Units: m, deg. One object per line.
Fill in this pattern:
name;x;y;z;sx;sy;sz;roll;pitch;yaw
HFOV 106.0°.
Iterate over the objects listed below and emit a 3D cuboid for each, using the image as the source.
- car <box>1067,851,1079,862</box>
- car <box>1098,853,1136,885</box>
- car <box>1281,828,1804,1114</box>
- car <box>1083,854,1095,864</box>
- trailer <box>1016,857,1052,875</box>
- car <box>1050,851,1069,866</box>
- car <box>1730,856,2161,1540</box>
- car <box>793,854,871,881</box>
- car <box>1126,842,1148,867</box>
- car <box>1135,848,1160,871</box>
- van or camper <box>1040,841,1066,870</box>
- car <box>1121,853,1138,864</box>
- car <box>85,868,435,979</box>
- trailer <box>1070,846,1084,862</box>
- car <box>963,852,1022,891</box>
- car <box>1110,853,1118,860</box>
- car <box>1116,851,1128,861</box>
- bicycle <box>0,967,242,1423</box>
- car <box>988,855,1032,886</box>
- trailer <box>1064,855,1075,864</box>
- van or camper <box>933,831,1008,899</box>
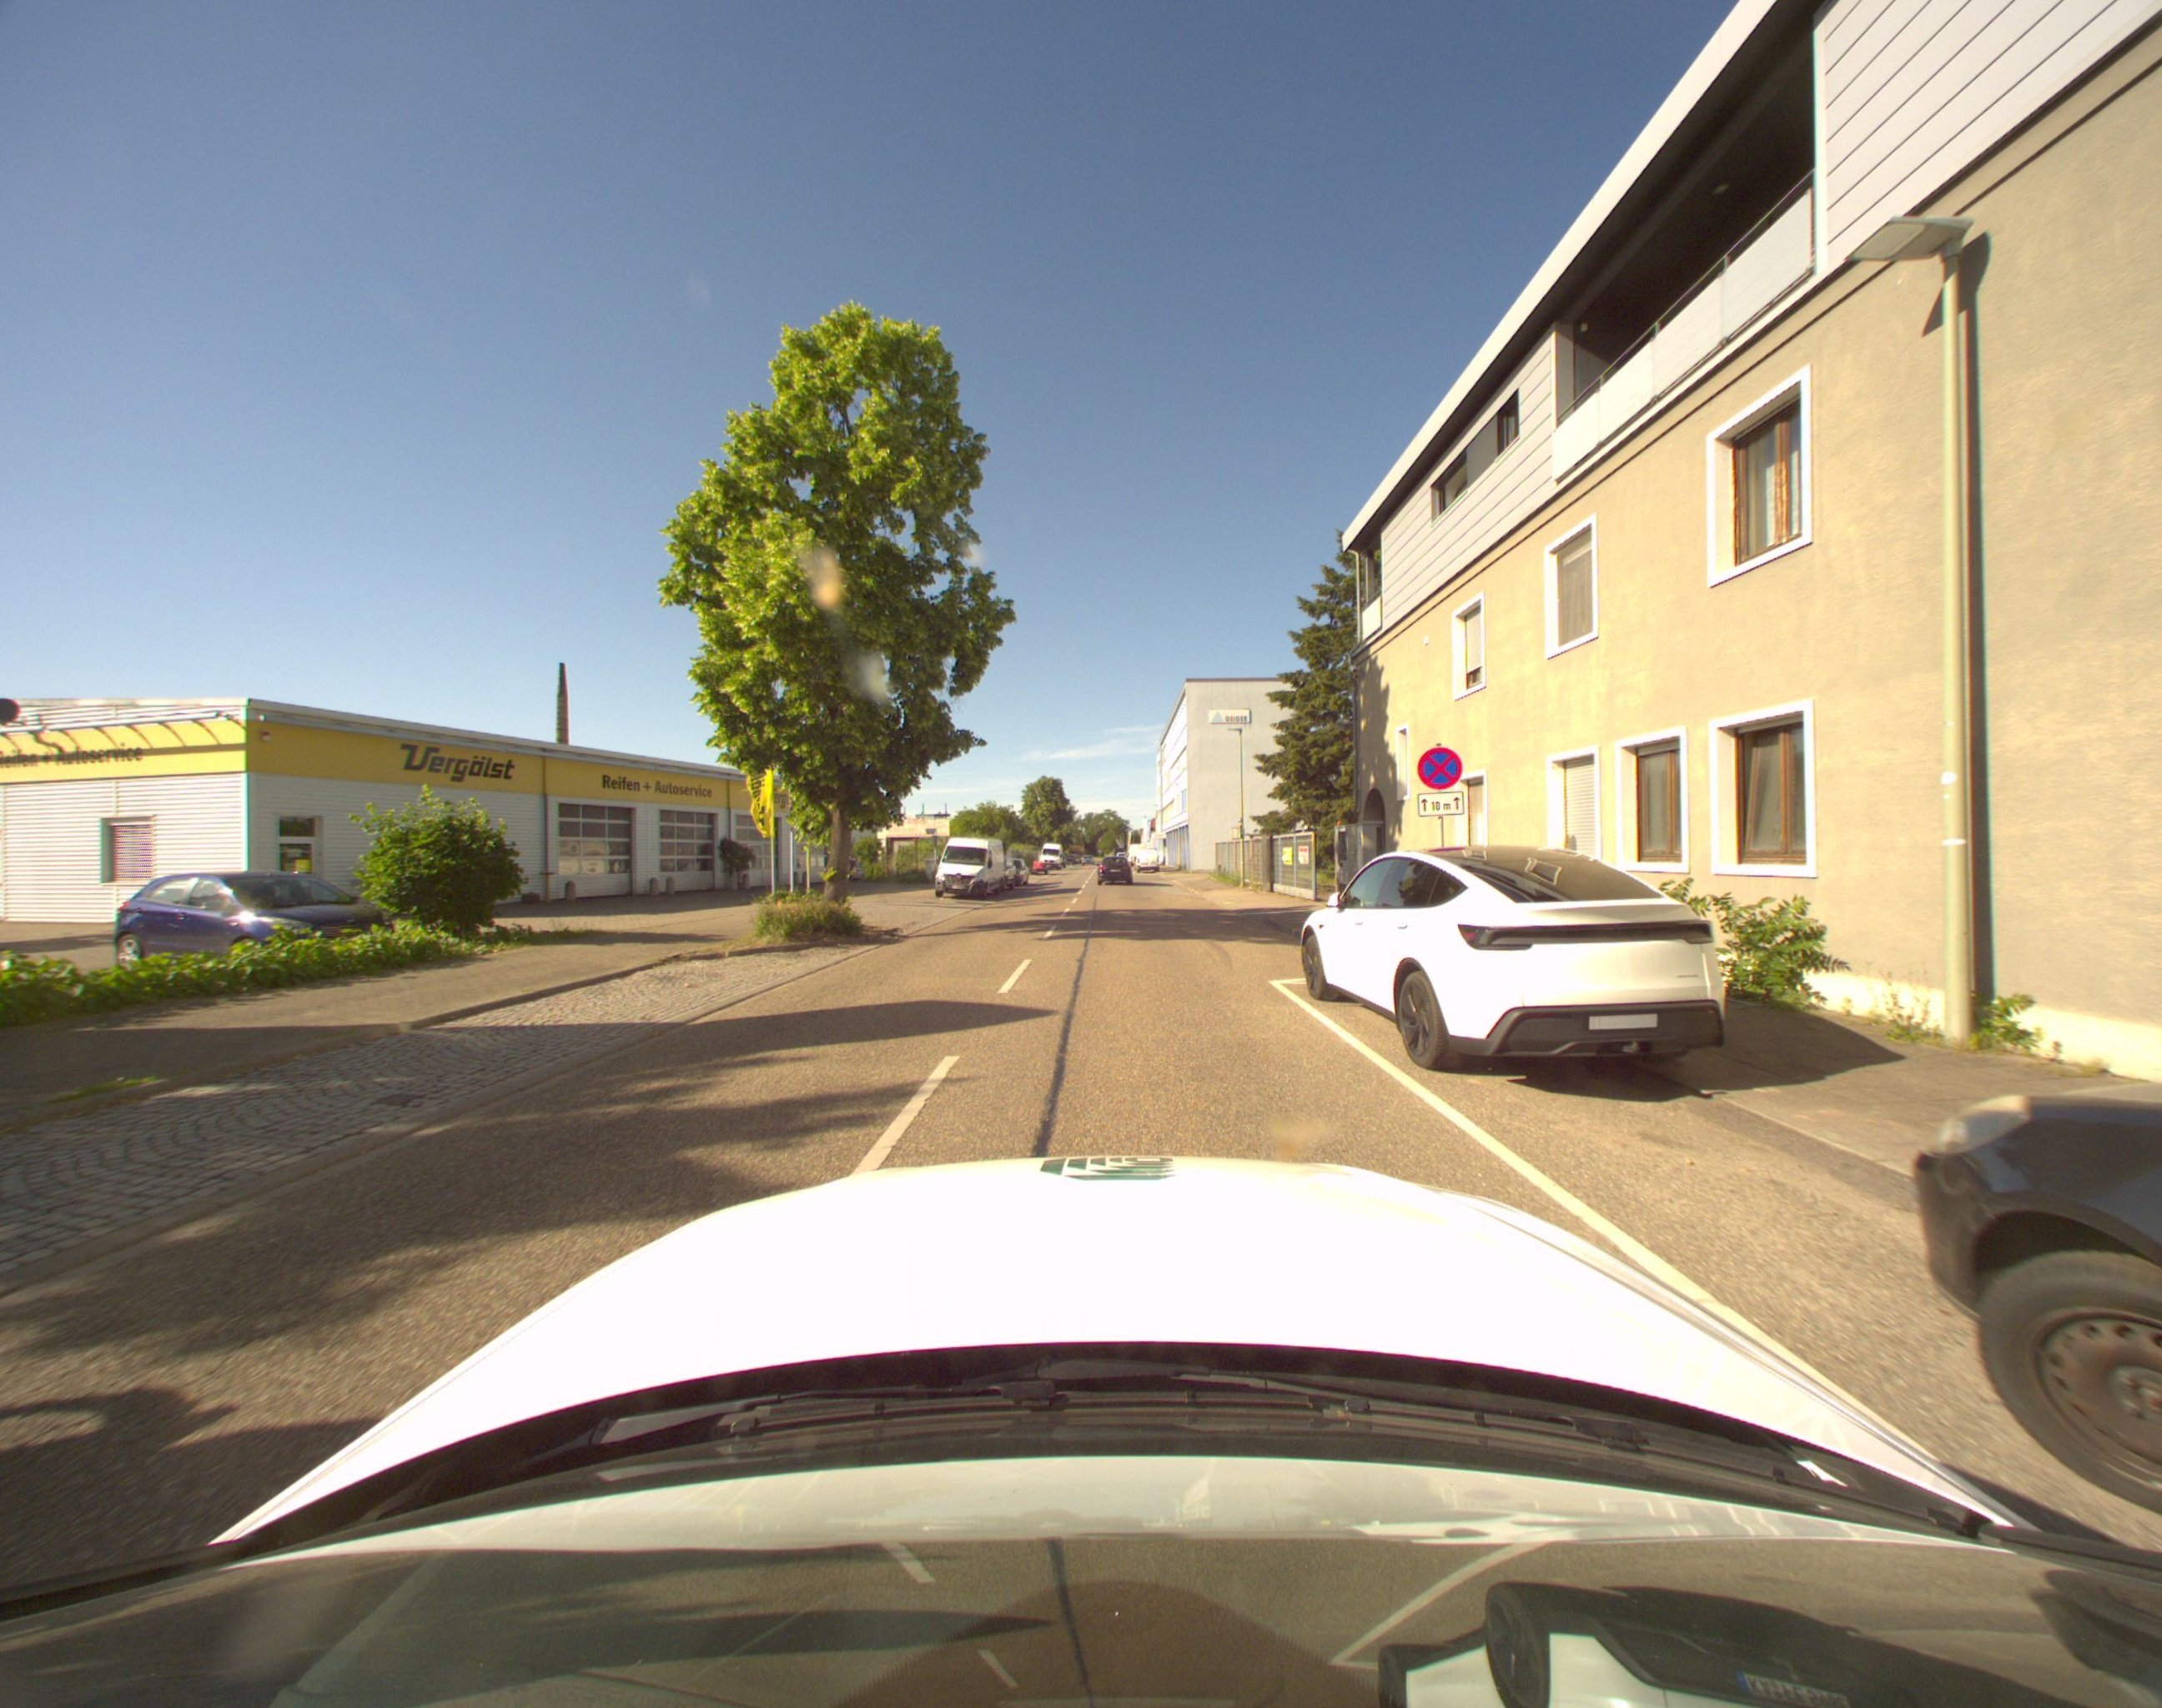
car;-1.329;0.464;136.628;1.784;1.731;4.806;-1;0;3
car;1.834;0.735;41.876;1.840;1.530;4.002;-1;0;2
car;3.319;0.687;7.204;1.925;1.644;4.769;-1;0;0
car;1.232;0.716;122.453;1.740;1.447;4.362;-1;0;1
trailer;-3.665;0.928;65.083;2.367;1.080;6.247;3;1;1
car;-2.577;0.507;96.974;2.024;1.694;5.106;3;0;0
car;3.091;0.765;0.963;1.591;1.473;4.196;-1;0;5
car;-15.342;0.832;50.232;4.131;1.574;1.922;-1;0;11
car;6.297;0.004;92.224;1.987;2.597;6.051;-3;1;0
car;5.411;0.428;66.391;1.881;1.832;5.094;0;0;3
van or camper;-2.833;0.120;83.716;1.958;2.685;5.952;4;0;3
car;6.150;0.587;103.798;1.888;1.405;5.125;1;-1;1
car;-12.894;1.009;12.869;4.312;1.508;2.008;-1;0;15
trailer;-0.824;0.028;177.290;2.981;3.443;8.160;-1;0;0
car;-4.304;0.798;40.484;1.984;1.738;4.581;3;0;5
car;8.673;0.657;214.667;1.867;2.014;5.162;1;-1;2
car;7.446;0.378;148.149;1.879;1.798;5.103;1;-1;0
bicycle;-3.638;1.049;1.734;0.835;1.240;2.607;-3;-1;4
car;-3.910;0.871;45.761;1.793;1.510;5.005;3;0;2
trailer;-1.600;0.795;118.194;1.471;1.354;3.079;1;0;1
van or camper;-4.582;0.414;34.936;2.063;2.549;6.406;3;0;1
